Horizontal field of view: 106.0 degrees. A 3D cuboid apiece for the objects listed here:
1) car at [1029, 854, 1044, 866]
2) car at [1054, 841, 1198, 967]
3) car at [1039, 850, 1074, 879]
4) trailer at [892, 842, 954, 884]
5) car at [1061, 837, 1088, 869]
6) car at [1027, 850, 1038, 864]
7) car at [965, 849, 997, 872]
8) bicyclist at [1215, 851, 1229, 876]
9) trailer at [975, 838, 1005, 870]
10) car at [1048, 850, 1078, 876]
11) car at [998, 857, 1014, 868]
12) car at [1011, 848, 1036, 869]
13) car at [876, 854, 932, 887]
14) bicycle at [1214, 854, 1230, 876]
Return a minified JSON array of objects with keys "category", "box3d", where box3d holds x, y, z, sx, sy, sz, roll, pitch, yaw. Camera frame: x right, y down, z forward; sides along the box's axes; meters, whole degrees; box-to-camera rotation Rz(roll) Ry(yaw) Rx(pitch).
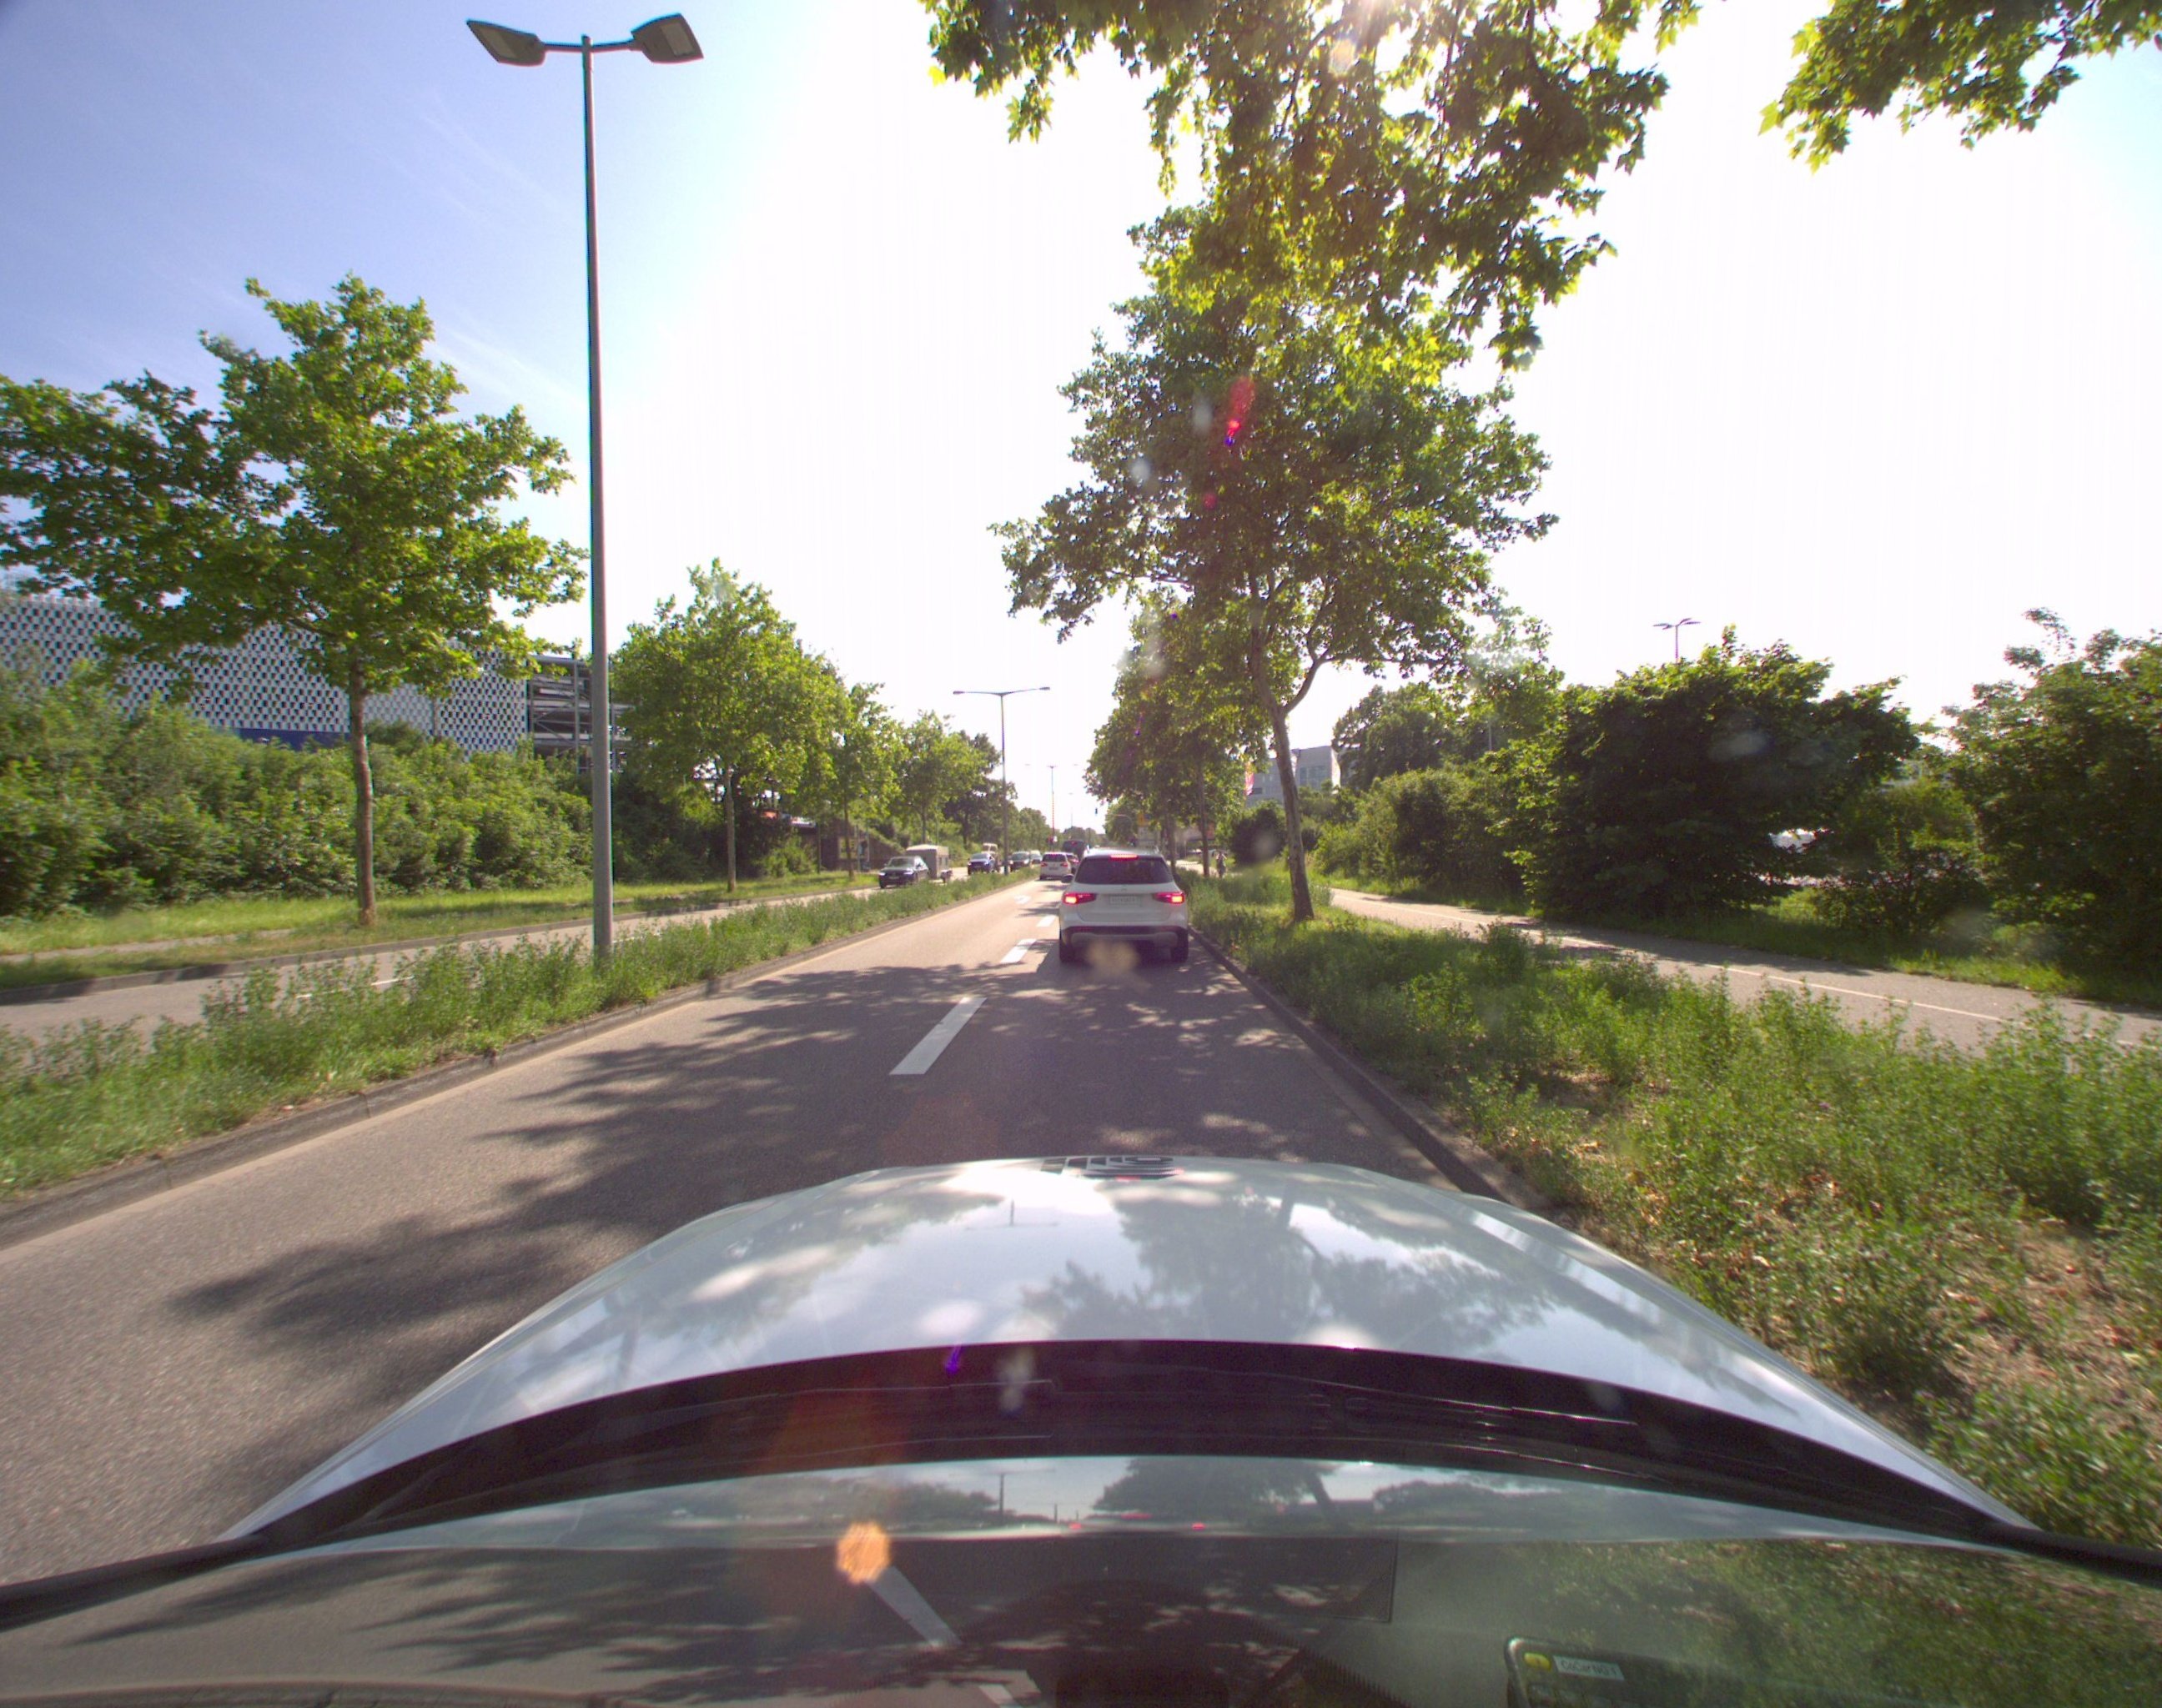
[{"category":"car","box3d":[-5.928,0.804,109.228,1.596,1.472,3.792,0,0,3]},{"category":"car","box3d":[0.620,0.661,12.782,1.847,1.607,4.000,-2,0,1]},{"category":"car","box3d":[-1.440,0.622,48.828,1.764,1.647,4.355,0,0,3]},{"category":"trailer","box3d":[-9.080,0.502,47.338,2.300,2.265,5.541,-1,0,3]},{"category":"car","box3d":[-0.511,-0.101,70.948,2.073,2.656,4.877,0,0,3]},{"category":"car","box3d":[-8.589,0.552,143.757,1.990,2.418,5.131,-1,0,-4]},{"category":"car","box3d":[-8.387,0.532,68.861,1.757,1.789,5.379,0,0,3]},{"category":"bicyclist","box3d":[8.414,0.554,48.598,0.701,1.477,1.010,0,0,2]},{"category":"trailer","box3d":[-8.180,0.023,73.653,1.872,2.744,4.832,0,0,3]},{"category":"car","box3d":[-1.161,0.601,54.959,1.764,1.647,4.087,0,0,3]},{"category":"car","box3d":[-10.113,1.113,110.005,1.695,1.365,3.647,0,0,1]},{"category":"car","box3d":[-5.170,0.424,73.811,1.724,1.809,4.235,0,0,3]},{"category":"car","box3d":[-9.134,0.819,42.352,1.708,1.622,4.364,-1,0,3]},{"category":"bicycle","box3d":[8.397,0.650,48.602,0.720,1.299,2.097,0,0,3]}]
